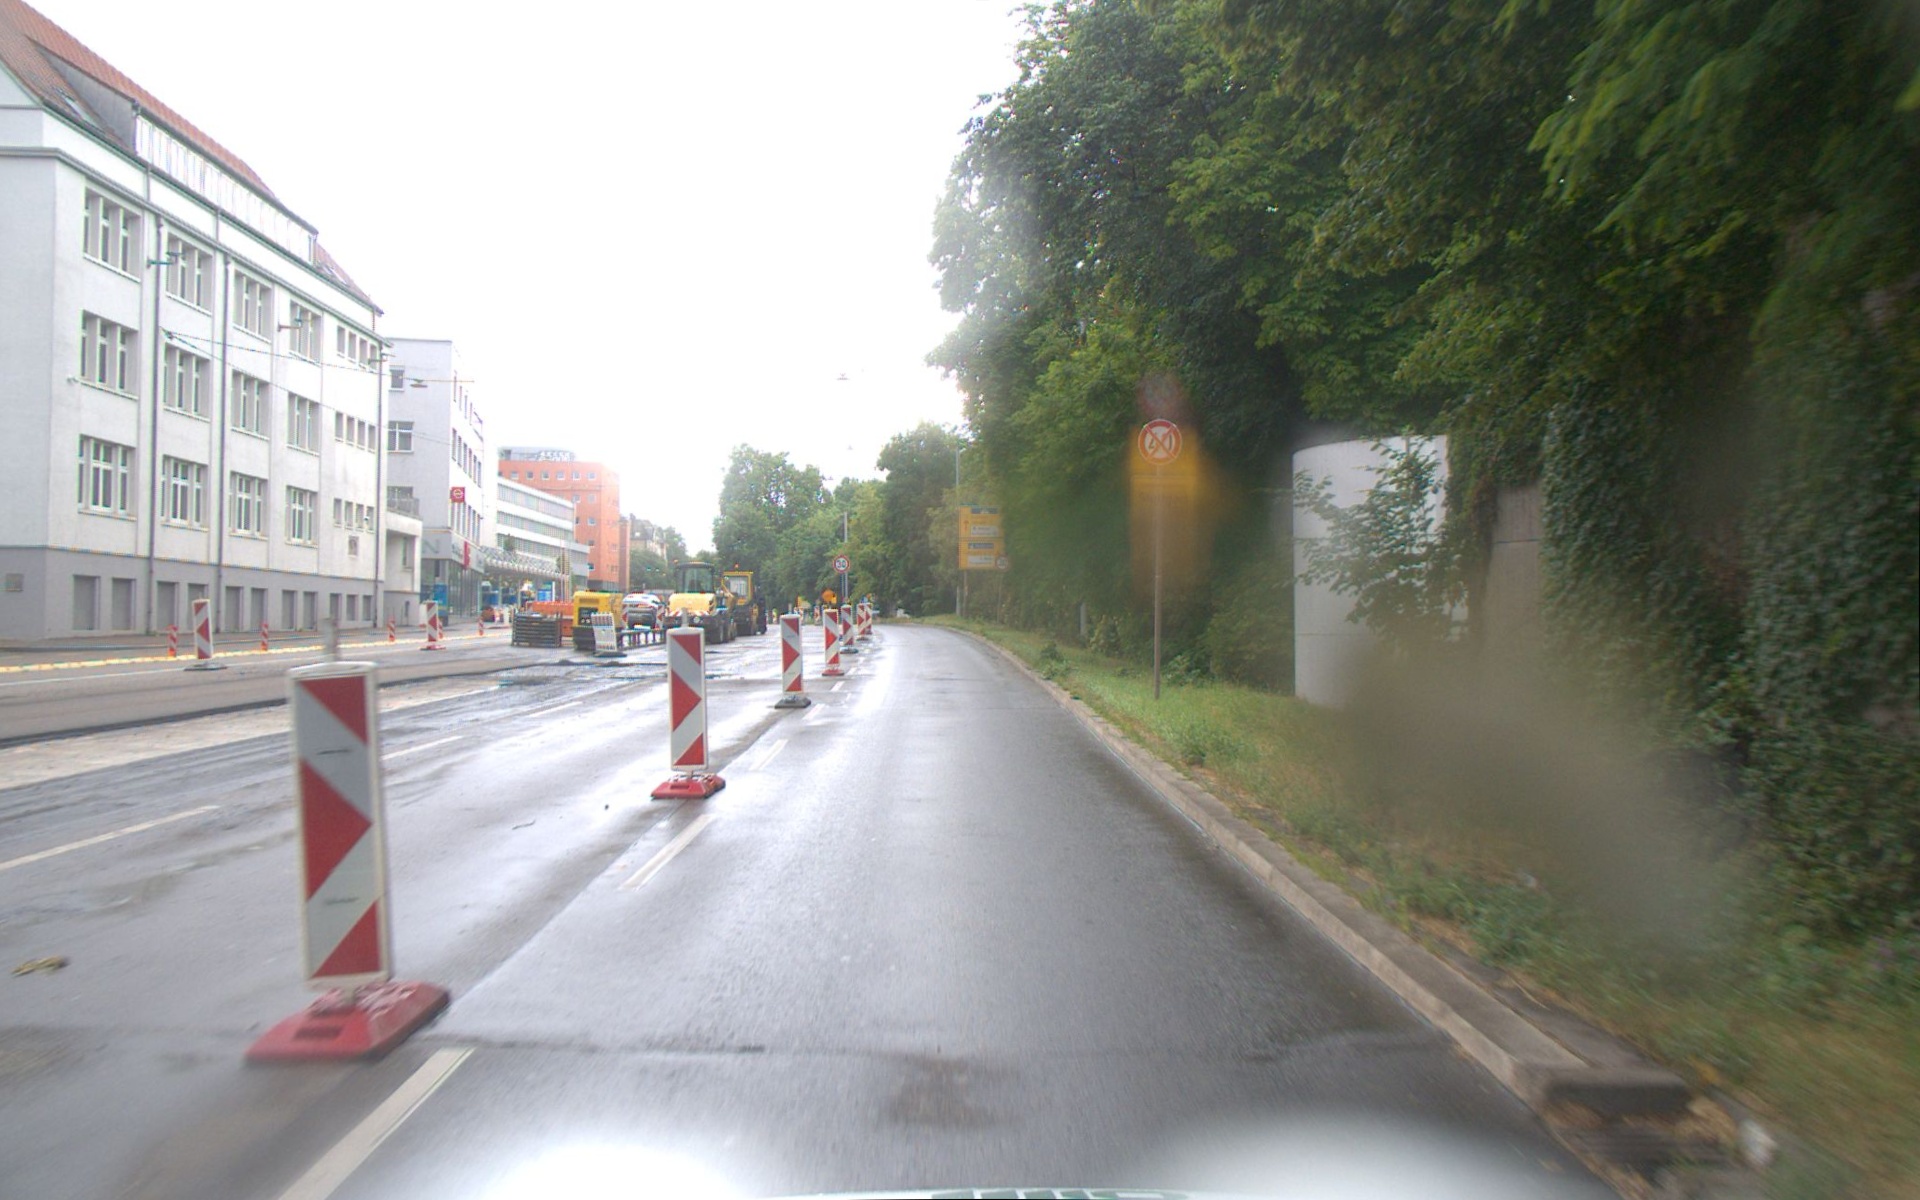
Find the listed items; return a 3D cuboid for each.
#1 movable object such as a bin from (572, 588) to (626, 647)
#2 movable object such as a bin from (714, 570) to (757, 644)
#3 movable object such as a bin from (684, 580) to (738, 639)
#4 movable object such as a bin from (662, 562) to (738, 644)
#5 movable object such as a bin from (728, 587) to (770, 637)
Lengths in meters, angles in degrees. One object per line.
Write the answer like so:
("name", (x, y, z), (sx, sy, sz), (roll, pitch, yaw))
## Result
("movable object such as a bin", (-10.442, 0.499, 47.924), (1.061, 1.673, 2.438), (1, 0, -2))
("movable object such as a bin", (-9.549, 0.282, 70.536), (1.436, 3.061, 3.722), (-1, 0, -3))
("movable object such as a bin", (-9.265, 0.348, 61.848), (1.335, 2.126, 5.028), (0, 0, -1))
("movable object such as a bin", (-8.806, 0.107, 56.428), (1.863, 2.655, 5.381), (0, 0, -1))
("movable object such as a bin", (-9.607, 0.544, 75.518), (1.682, 2.187, 3.346), (-1, 0, -5))
